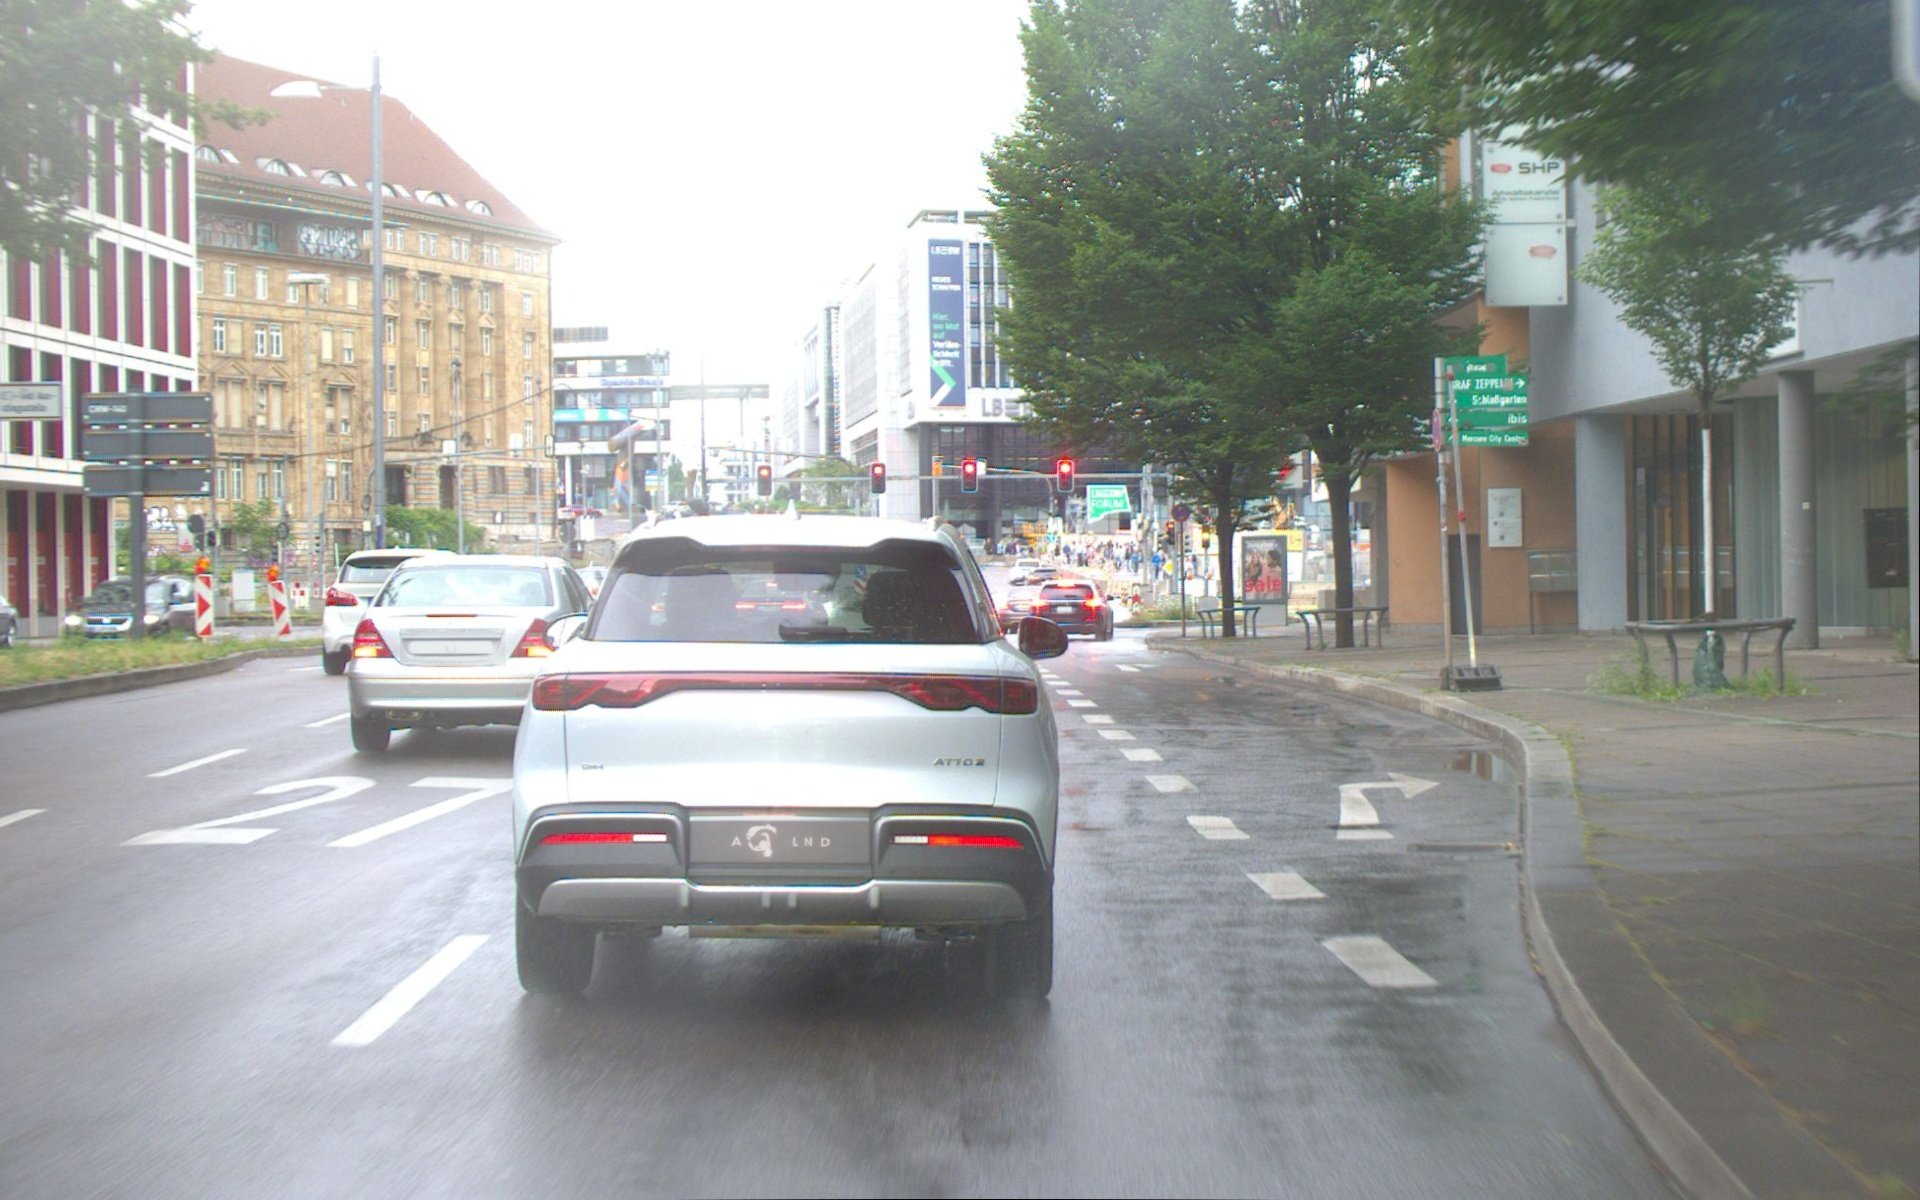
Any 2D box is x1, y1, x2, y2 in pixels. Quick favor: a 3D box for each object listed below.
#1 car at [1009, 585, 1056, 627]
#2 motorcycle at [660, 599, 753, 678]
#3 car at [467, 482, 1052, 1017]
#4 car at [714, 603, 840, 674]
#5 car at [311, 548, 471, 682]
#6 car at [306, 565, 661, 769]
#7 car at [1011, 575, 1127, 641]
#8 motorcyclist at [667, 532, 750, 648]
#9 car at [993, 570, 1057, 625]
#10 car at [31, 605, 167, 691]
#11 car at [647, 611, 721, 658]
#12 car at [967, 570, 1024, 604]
[{"bbox_3d":[3.549,0.307,168.913,1.993,2.007,4.000,1,-1,-2],"label":"car"},{"bbox_3d":[-3.259,0.483,44.407,0.942,0.986,2.294,1,0,2],"label":"motorcycle"},{"bbox_3d":[-0.691,0.493,12.824,1.808,1.655,4.171,1,-1,-2],"label":"car"},{"bbox_3d":[-4.012,0.856,76.263,1.887,1.510,5.001,0,-1,7],"label":"car"},{"bbox_3d":[-7.195,0.203,43.771,1.732,1.610,4.000,1,-1,-6],"label":"car"},{"bbox_3d":[-3.514,0.492,26.143,1.733,1.399,4.382,0,-1,5],"label":"car"},{"bbox_3d":[2.670,0.198,83.362,1.892,1.539,3.990,0,-1,16],"label":"car"},{"bbox_3d":[-3.243,-0.118,44.417,0.941,1.470,1.100,1,-1,2],"label":"motorcyclist"},{"bbox_3d":[2.018,-0.058,105.969,1.783,1.594,4.485,1,-1,3],"label":"car"},{"bbox_3d":[-17.034,0.950,68.221,1.825,1.627,4.876,1,-1,-5],"label":"car"},{"bbox_3d":[-8.226,1.034,102.752,1.783,1.369,3.993,1,-1,2],"label":"car"},{"bbox_3d":[2.011,-0.719,194.933,1.993,1.810,4.001,1,-1,-19],"label":"car"}]
